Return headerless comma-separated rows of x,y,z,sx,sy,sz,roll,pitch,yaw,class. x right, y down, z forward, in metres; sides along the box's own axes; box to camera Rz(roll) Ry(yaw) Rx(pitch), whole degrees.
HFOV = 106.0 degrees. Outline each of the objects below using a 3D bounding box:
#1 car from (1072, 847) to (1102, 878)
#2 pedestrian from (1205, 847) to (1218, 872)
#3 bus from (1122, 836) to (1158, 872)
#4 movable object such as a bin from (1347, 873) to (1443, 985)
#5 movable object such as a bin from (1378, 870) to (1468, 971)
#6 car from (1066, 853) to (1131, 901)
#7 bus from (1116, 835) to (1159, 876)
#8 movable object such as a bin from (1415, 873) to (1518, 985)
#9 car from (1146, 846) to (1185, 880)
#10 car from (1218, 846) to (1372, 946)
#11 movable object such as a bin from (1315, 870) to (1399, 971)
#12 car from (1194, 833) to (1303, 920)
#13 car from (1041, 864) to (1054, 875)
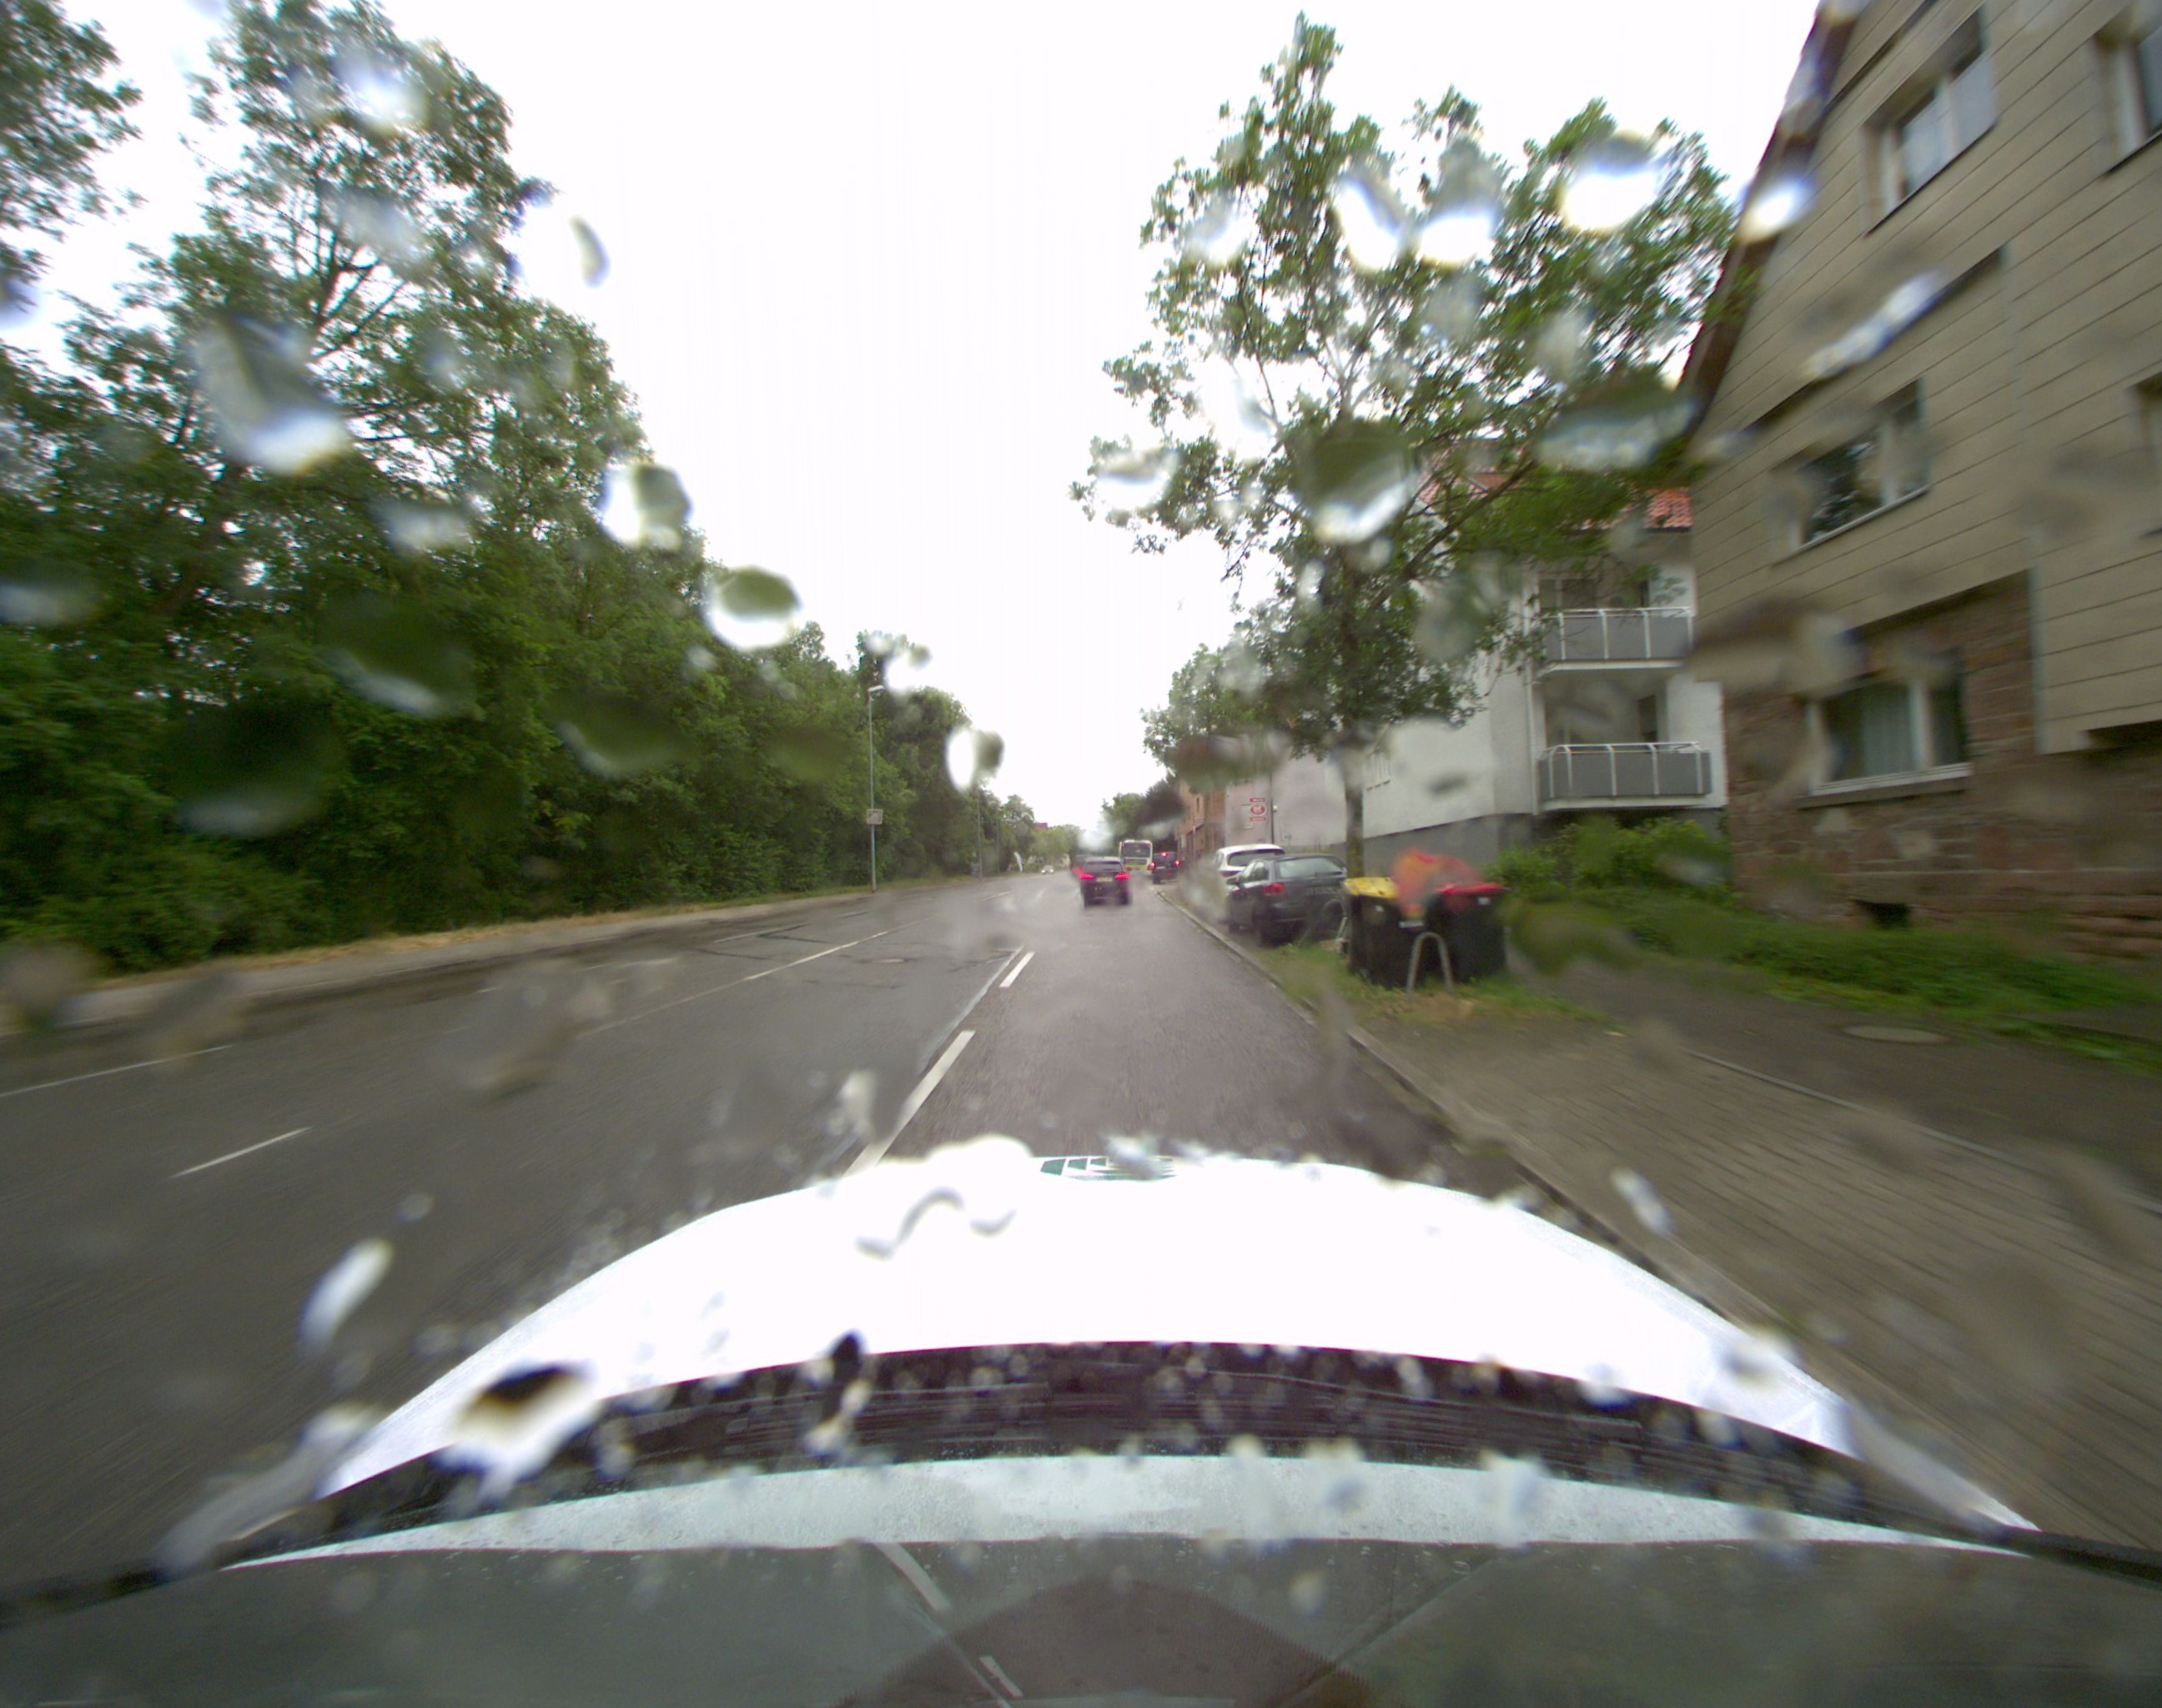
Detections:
0.461,0.571,57.265,1.986,2.013,4.002,-1,0,2,car
9.201,0.399,57.359,0.688,1.754,0.669,-3,0,1,pedestrian
5.077,-0.048,71.436,2.613,2.847,9.797,-3,0,1,bus
3.267,0.757,8.531,0.617,1.050,0.822,-4,0,-1,movable object such as a bin
3.907,0.738,9.368,0.617,1.050,0.822,-4,0,-1,movable object such as a bin
0.503,0.711,27.458,1.988,1.453,3.998,1,0,-2,car
4.446,0.038,62.558,2.609,2.847,8.306,-3,0,7,bus
3.996,0.755,8.501,0.617,1.050,0.822,-4,0,-1,movable object such as a bin
5.361,0.571,50.987,1.915,1.892,4.774,-5,-1,10,car
3.557,0.630,14.261,1.636,1.448,3.998,-2,0,0,car
3.170,0.741,9.401,0.617,1.050,0.822,-4,0,-1,movable object such as a bin
3.861,0.462,19.509,1.817,1.772,4.544,-2,0,3,car
-5.205,2.452,126.657,1.763,1.533,4.001,-3,0,1,car
